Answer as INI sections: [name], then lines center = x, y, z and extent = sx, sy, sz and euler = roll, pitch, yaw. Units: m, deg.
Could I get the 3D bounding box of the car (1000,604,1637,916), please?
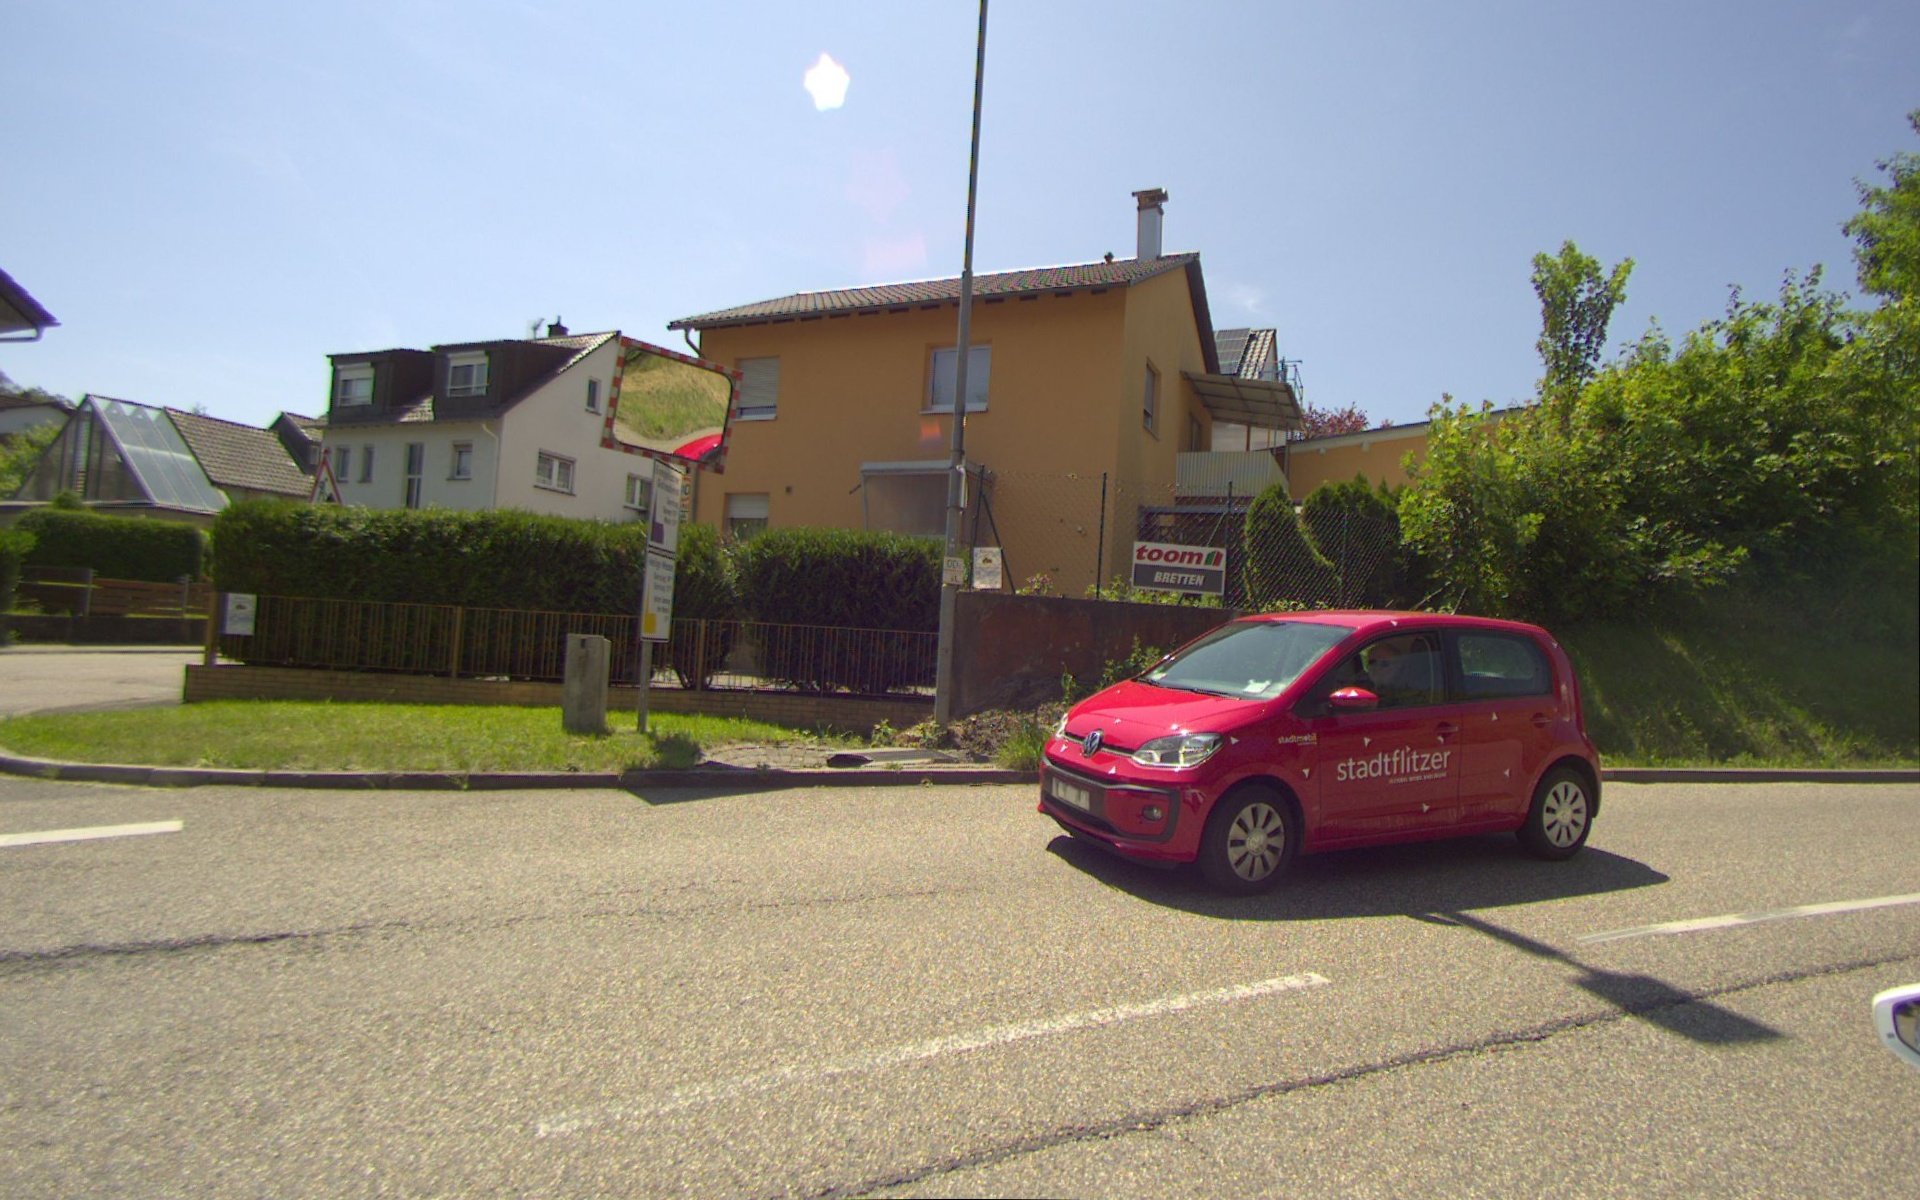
[car]
center = 2.228, 0.819, 6.272
extent = 3.585, 1.477, 1.651
euler = 2, 0, -24
